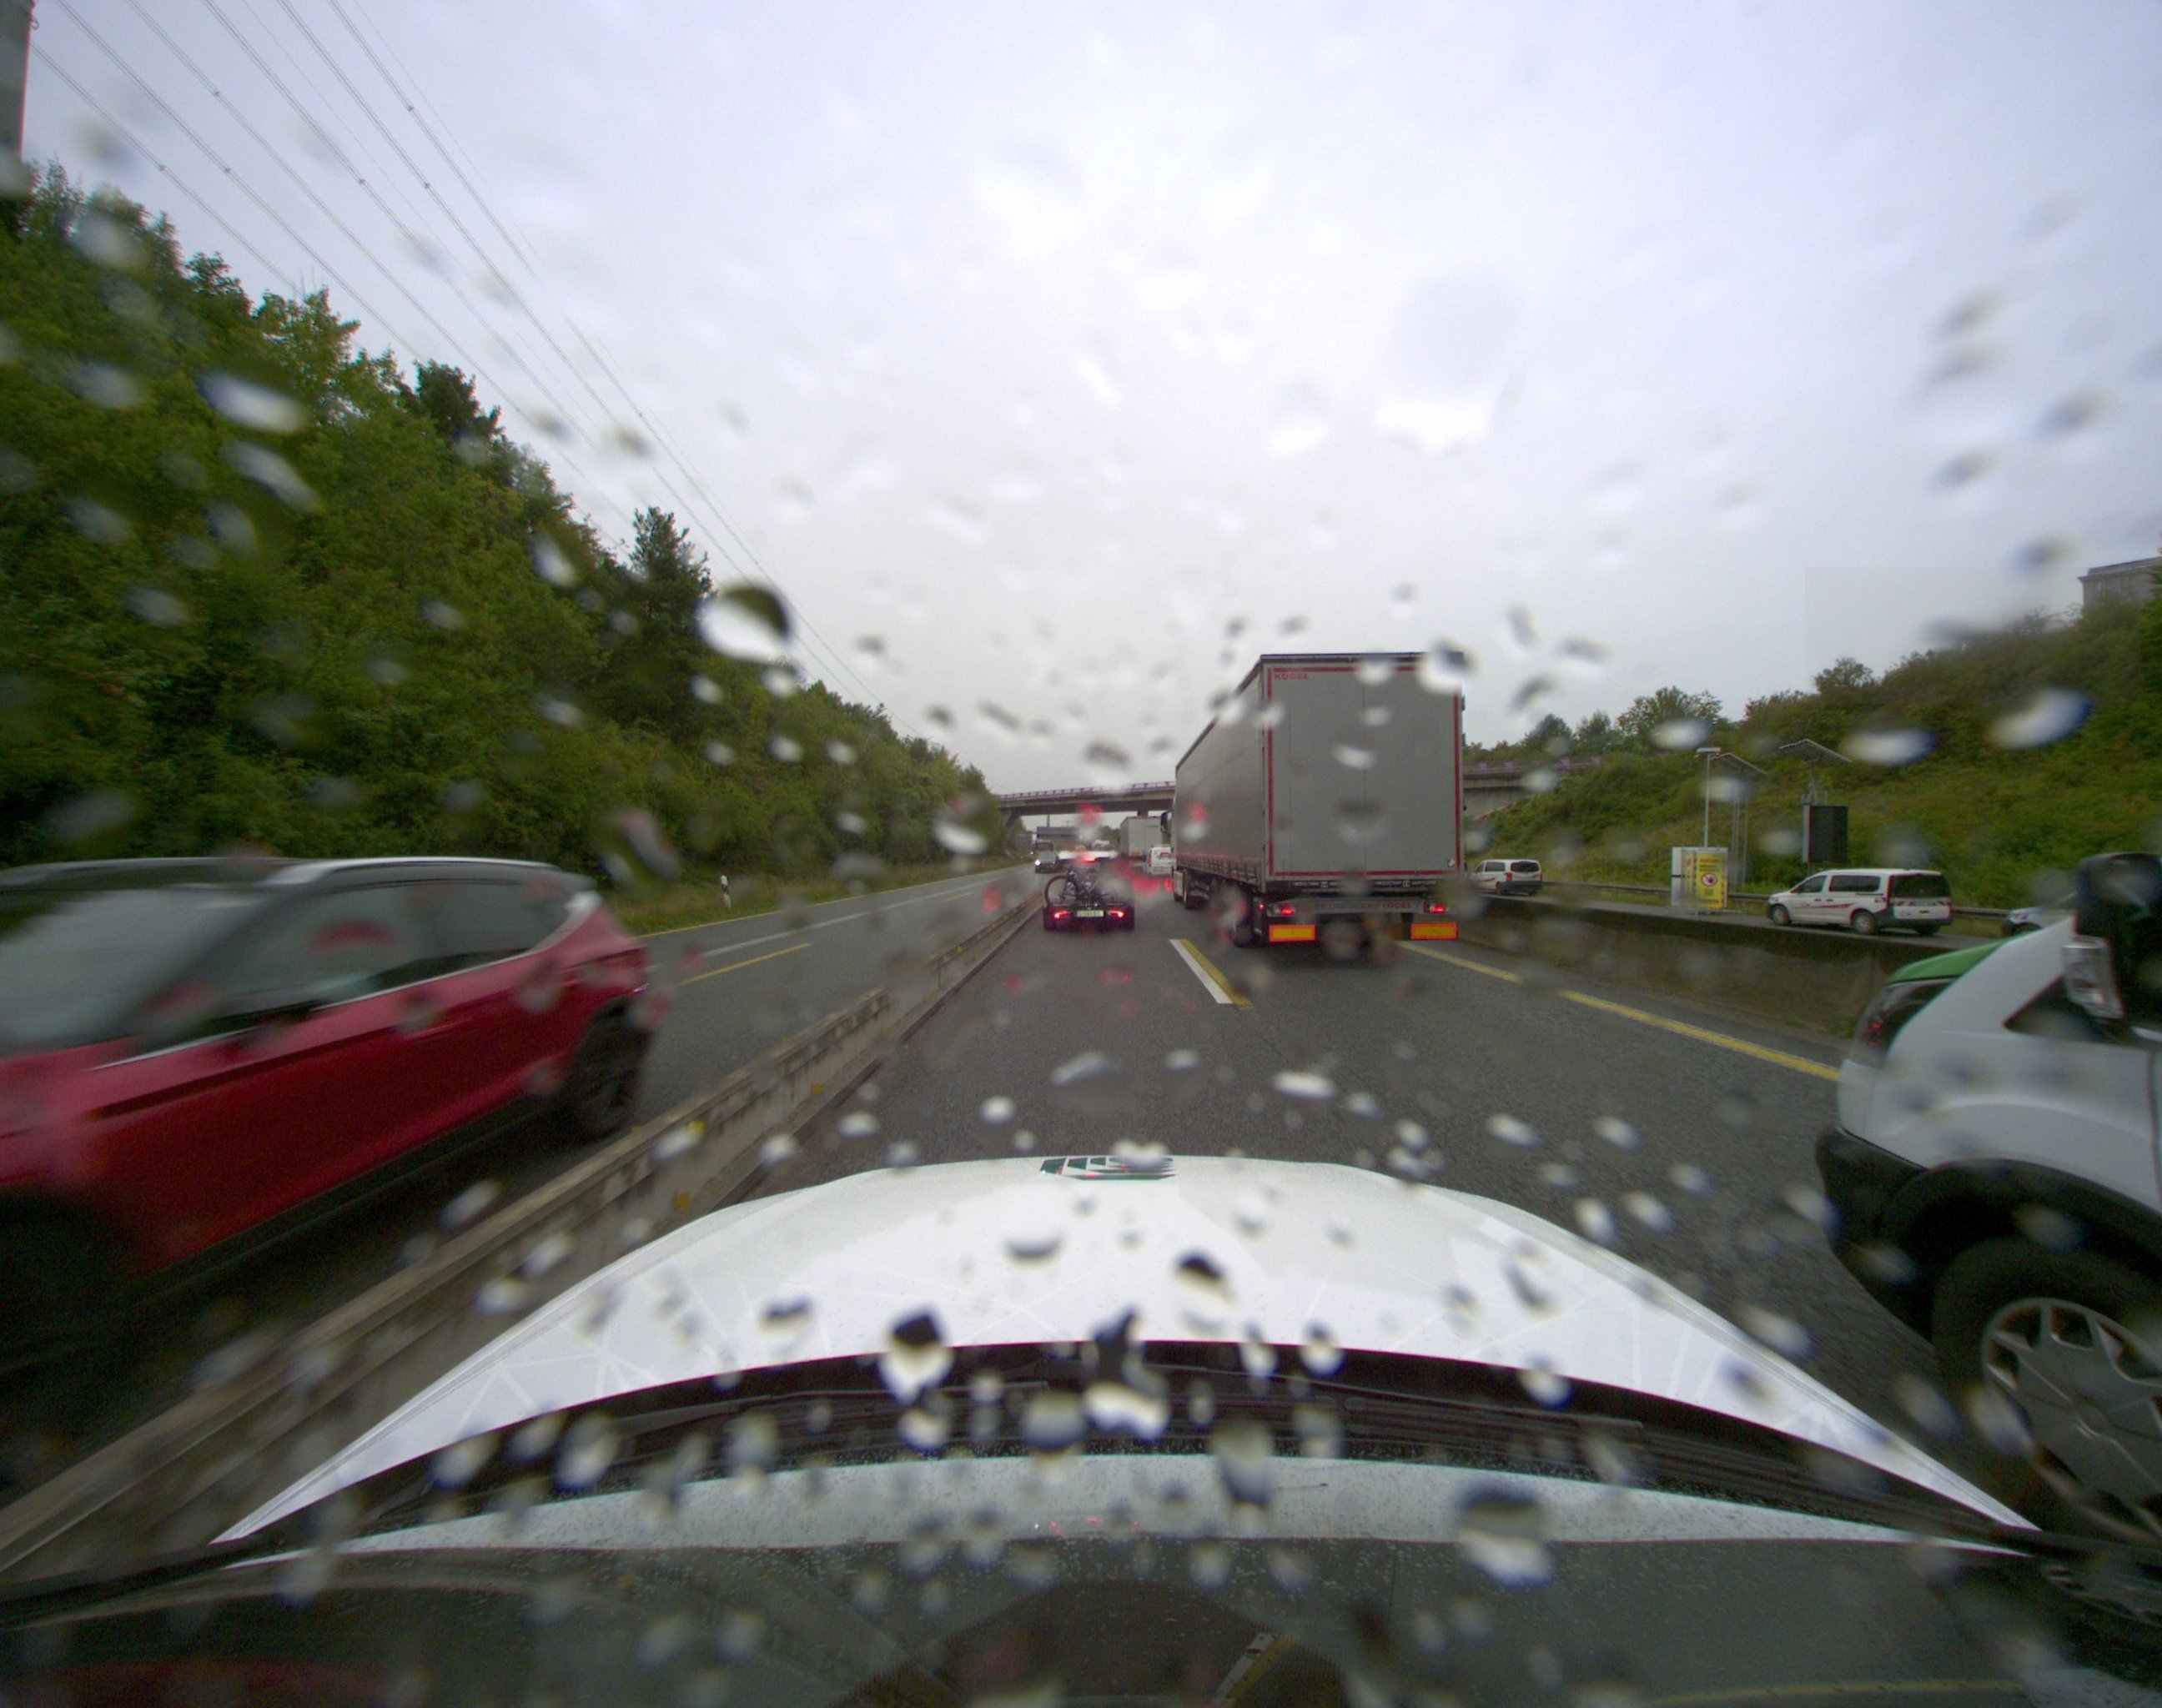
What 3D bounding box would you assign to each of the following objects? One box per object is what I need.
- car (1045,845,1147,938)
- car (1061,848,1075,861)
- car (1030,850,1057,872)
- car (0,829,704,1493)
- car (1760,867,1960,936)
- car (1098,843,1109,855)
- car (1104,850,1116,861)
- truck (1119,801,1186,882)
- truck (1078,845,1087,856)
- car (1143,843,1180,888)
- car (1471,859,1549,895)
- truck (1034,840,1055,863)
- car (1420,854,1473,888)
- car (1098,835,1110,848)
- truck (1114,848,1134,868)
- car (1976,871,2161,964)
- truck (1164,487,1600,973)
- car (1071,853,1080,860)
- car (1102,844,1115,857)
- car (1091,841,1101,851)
[{"bbox_3d":[0.381,0.674,16.816,1.803,1.637,4.639,-1,0,3],"label":"car"},{"bbox_3d":[-1.809,0.038,115.448,1.804,1.824,4.634,-1,0,0],"label":"car"},{"bbox_3d":[-2.892,0.544,63.785,1.804,1.633,4.118,-1,0,1],"label":"car"},{"bbox_3d":[-3.393,0.736,3.275,1.788,1.555,4.001,-1,0,2],"label":"car"},{"bbox_3d":[22.325,1.283,23.603,1.723,1.757,4.268,-1,0,0],"label":"car"},{"bbox_3d":[3.966,-0.930,142.386,1.986,2.014,4.001,-1,0,2],"label":"car"},{"bbox_3d":[4.136,0.257,115.610,1.632,1.497,3.667,-1,0,2],"label":"car"},{"bbox_3d":[5.607,-0.841,68.238,4.724,5.673,20.390,-1,0,3],"label":"truck"},{"bbox_3d":[0.564,-1.036,244.488,2.526,3.352,12.051,-1,0,1],"label":"truck"},{"bbox_3d":[4.159,0.568,42.459,1.663,2.180,4.538,-1,0,3],"label":"car"},{"bbox_3d":[22.964,1.178,43.814,1.934,1.829,4.731,-1,0,4],"label":"car"},{"bbox_3d":[-5.428,-0.337,123.397,2.526,3.352,12.051,-1,0,1],"label":"truck"},{"bbox_3d":[23.155,1.037,51.733,1.721,2.058,4.128,-1,0,4],"label":"car"},{"bbox_3d":[4.351,-2.403,155.257,2.231,2.307,4.573,-1,0,2],"label":"car"},{"bbox_3d":[4.531,0.446,85.778,1.986,2.014,4.001,-1,0,2],"label":"truck"},{"bbox_3d":[22.184,1.285,17.241,1.723,1.769,4.329,-1,0,0],"label":"car"},{"bbox_3d":[4.554,-1.410,19.777,3.963,5.673,20.390,-1,0,3],"label":"truck"},{"bbox_3d":[-1.113,0.531,168.702,1.681,1.409,3.929,-1,0,0],"label":"car"},{"bbox_3d":[4.429,-0.469,129.637,1.986,2.014,4.001,-1,0,2],"label":"car"},{"bbox_3d":[3.178,-1.642,168.366,1.986,2.126,4.528,-1,0,2],"label":"car"}]
